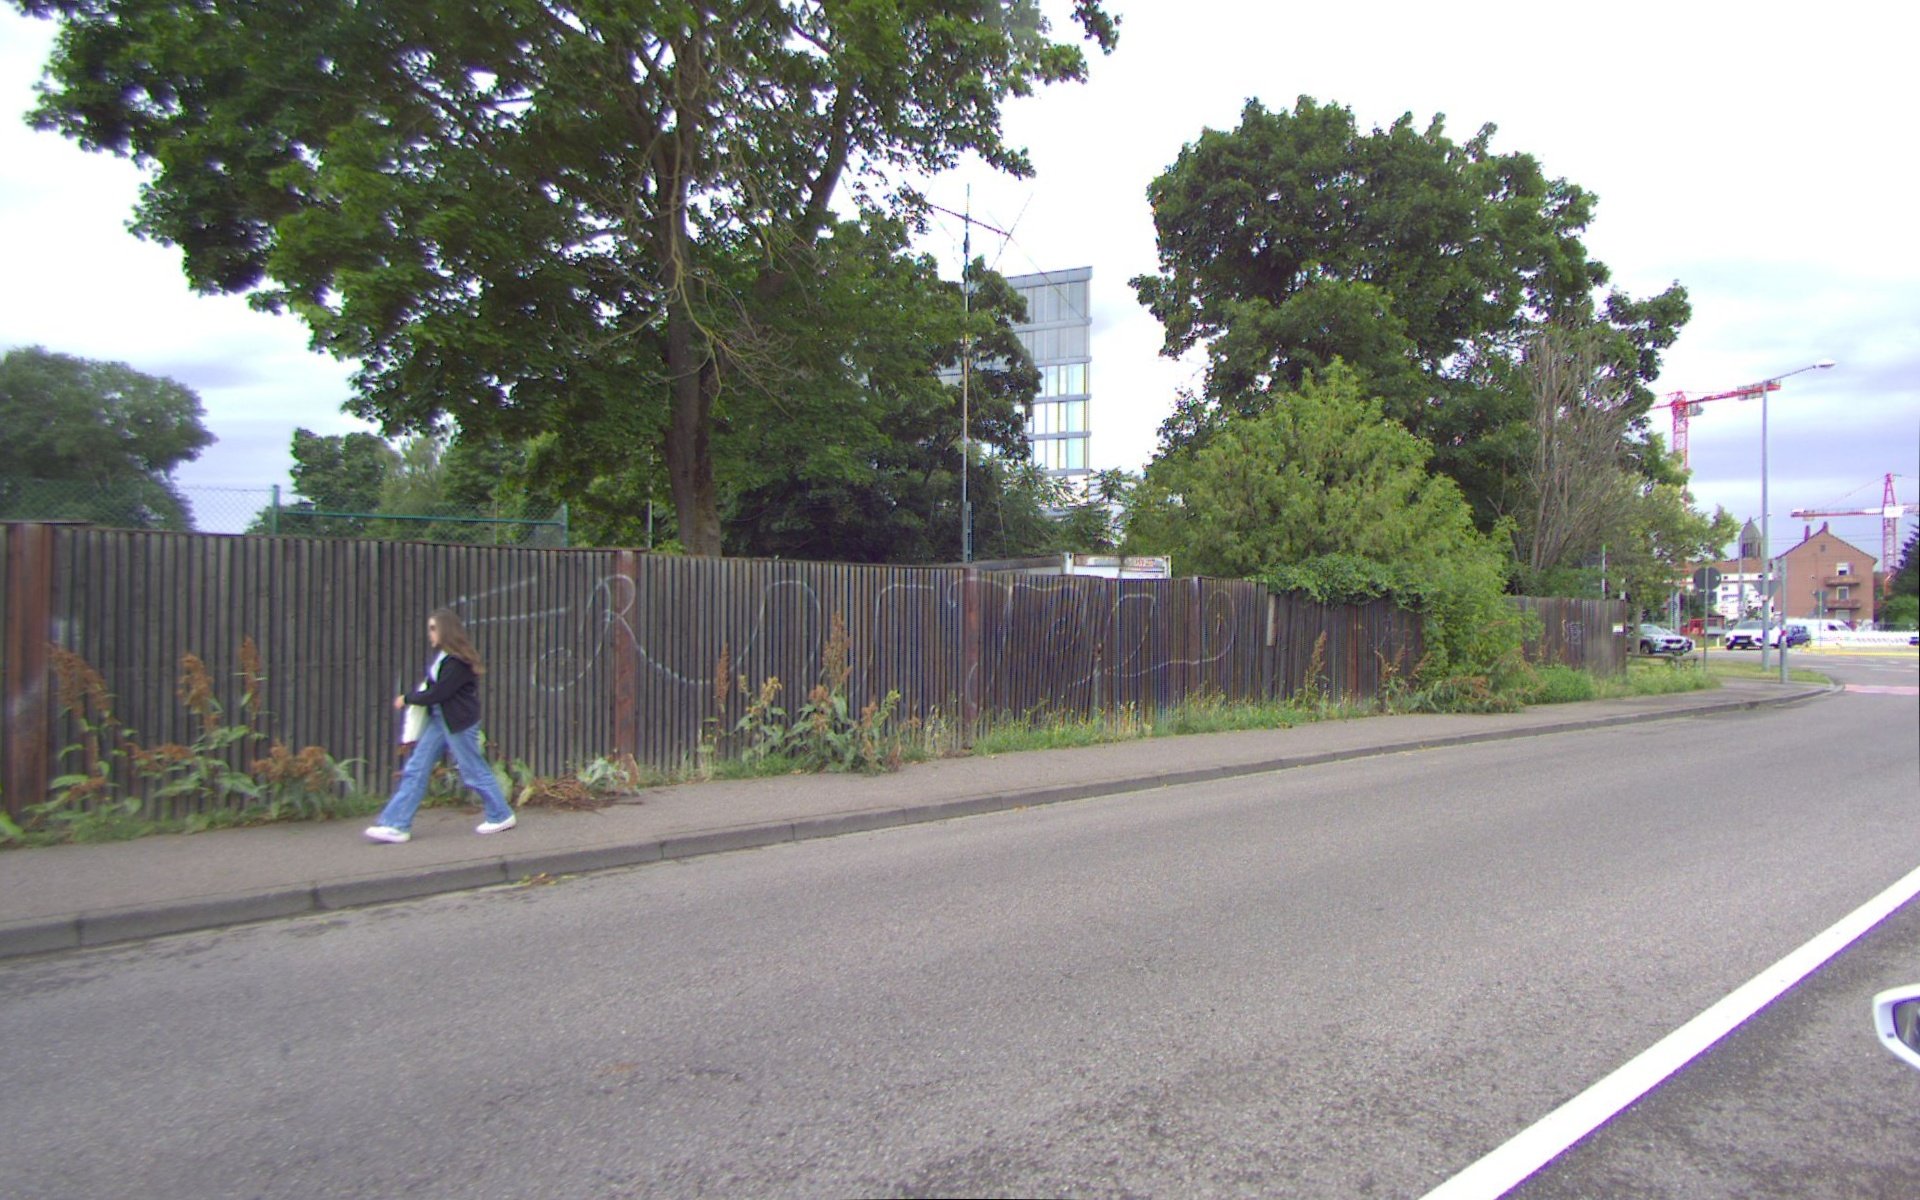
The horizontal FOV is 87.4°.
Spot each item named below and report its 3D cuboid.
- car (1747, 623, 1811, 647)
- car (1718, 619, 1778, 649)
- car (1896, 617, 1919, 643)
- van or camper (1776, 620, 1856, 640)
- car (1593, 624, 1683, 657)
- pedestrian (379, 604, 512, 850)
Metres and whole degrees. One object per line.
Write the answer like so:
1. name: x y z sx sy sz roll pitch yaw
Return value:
1. car: 51.459 2.184 63.104 3.954 1.509 1.921 1 -1 -31
2. car: 46.207 1.951 58.882 4.153 1.706 1.915 1 -1 -39
3. car: 64.523 1.951 65.697 4.580 1.656 2.001 0 -1 6
4. van or camper: 89.066 3.086 104.647 1.970 2.040 6.169 1 -1 -20
5. car: 35.295 2.081 52.425 1.960 1.604 4.534 0 -1 5
6. pedestrian: -3.483 0.812 6.799 0.717 1.549 0.608 1 -1 -36
